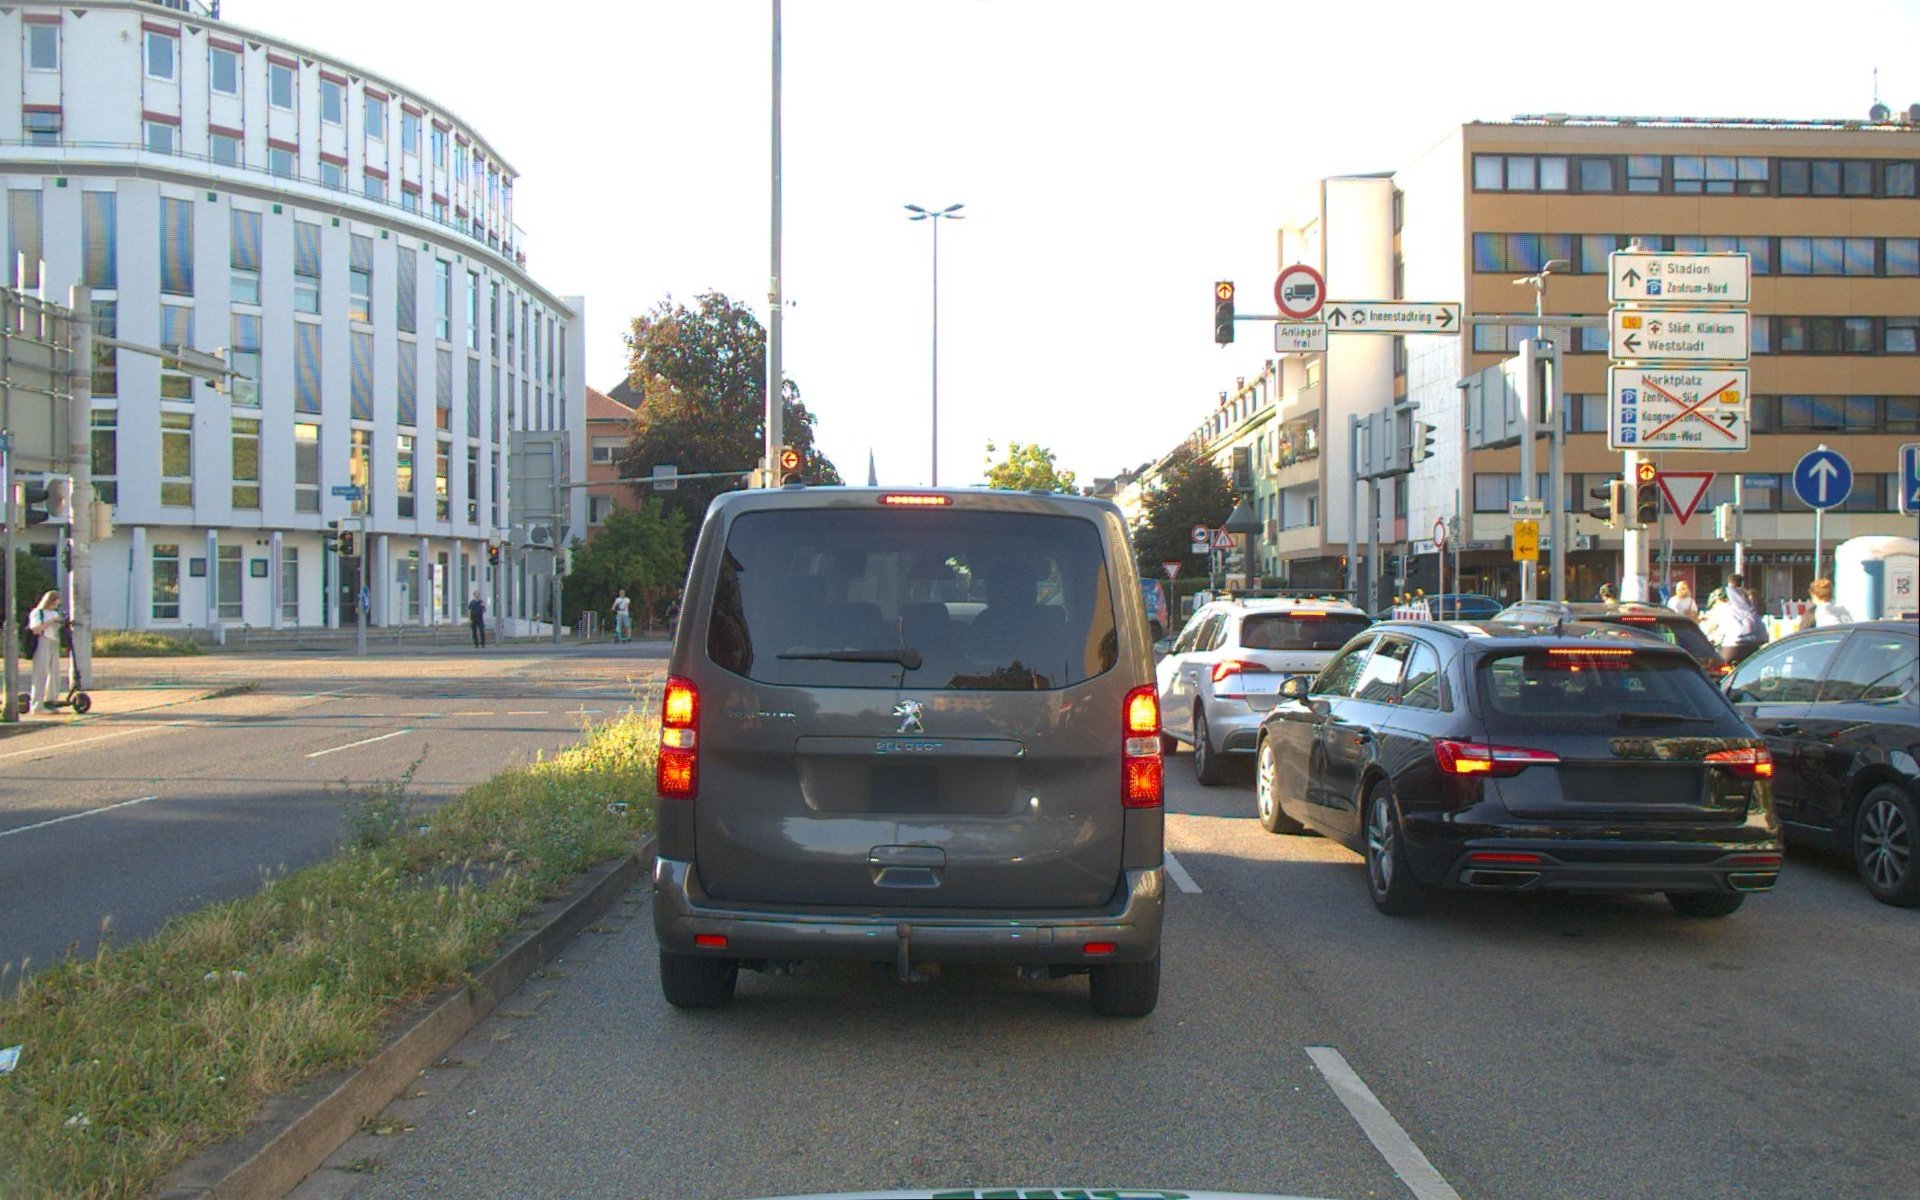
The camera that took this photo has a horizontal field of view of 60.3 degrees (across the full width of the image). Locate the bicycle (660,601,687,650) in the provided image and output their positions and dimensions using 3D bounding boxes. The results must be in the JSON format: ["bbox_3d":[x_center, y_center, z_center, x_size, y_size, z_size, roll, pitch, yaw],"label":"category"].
[{"bbox_3d":[-12.177,1.066,70.371,0.700,2.049,2.563,0,0,-1],"label":"bicycle"}]

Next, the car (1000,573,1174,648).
[{"bbox_3d":[3.285,0.238,42.565,4.180,1.849,1.976,-1,0,-35],"label":"car"}]

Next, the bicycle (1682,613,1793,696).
[{"bbox_3d":[11.833,0.812,25.197,1.473,1.181,0.371,2,1,41],"label":"bicycle"}]

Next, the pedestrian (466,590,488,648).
[{"bbox_3d":[-14.801,0.579,50.674,0.615,1.752,0.669,0,0,-15],"label":"pedestrian"}]

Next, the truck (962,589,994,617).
[{"bbox_3d":[1.431,0.213,129.648,2.083,2.123,4.634,0,0,5],"label":"truck"}]

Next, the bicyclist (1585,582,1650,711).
[{"bbox_3d":[8.071,0.564,20.319,0.503,1.552,0.725,0,0,-1],"label":"bicyclist"}]

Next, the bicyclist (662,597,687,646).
[{"bbox_3d":[-12.168,0.899,70.537,0.816,2.049,1.064,1,-1,1],"label":"bicyclist"}]

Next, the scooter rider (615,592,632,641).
[{"bbox_3d":[-11.849,0.578,58.227,0.471,1.727,0.636,0,0,-1],"label":"scooter rider"}]

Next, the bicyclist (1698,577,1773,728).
[{"bbox_3d":[8.143,0.541,17.384,0.432,1.552,0.725,0,0,-1],"label":"bicyclist"}]

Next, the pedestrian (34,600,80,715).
[{"bbox_3d":[-12.222,0.767,22.381,0.466,1.532,0.334,0,0,-13],"label":"pedestrian"}]

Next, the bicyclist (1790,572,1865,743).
[{"bbox_3d":[7.981,0.521,15.224,0.432,1.552,0.482,0,0,-1],"label":"bicyclist"}]

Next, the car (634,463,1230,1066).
[{"bbox_3d":[-0.119,0.523,7.553,1.868,1.896,4.525,1,0,-1],"label":"car"}]

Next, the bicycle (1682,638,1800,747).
[{"bbox_3d":[8.139,0.933,17.301,0.329,1.025,1.855,0,0,-1],"label":"bicycle"}]

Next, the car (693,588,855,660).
[{"bbox_3d":[-3.949,0.489,35.715,1.659,1.412,3.681,-1,0,29],"label":"car"}]

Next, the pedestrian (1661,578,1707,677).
[{"bbox_3d":[12.469,0.471,28.491,0.589,1.700,0.454,0,0,1],"label":"pedestrian"}]

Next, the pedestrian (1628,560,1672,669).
[{"bbox_3d":[11.863,0.248,28.436,0.558,1.866,0.487,0,0,1],"label":"pedestrian"}]

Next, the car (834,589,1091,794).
[{"bbox_3d":[-0.009,0.690,14.611,1.953,1.557,3.999,0,0,-1],"label":"car"}]

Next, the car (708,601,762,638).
[{"bbox_3d":[-9.194,0.775,67.846,1.819,1.445,3.998,0,0,-2],"label":"car"}]

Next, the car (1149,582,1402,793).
[{"bbox_3d":[2.713,0.685,14.962,1.498,1.641,3.744,1,0,-1],"label":"car"}]

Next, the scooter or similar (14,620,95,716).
[{"bbox_3d":[-12.147,0.909,22.202,0.877,1.255,0.370,0,0,-12],"label":"scooter or similar"}]

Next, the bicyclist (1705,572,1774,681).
[{"bbox_3d":[11.870,0.394,25.192,0.799,1.616,0.616,2,1,41],"label":"bicyclist"}]

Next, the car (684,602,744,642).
[{"bbox_3d":[-9.227,0.809,62.347,1.819,1.445,3.998,0,0,-2],"label":"car"}]

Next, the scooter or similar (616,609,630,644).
[{"bbox_3d":[-11.854,0.938,58.224,0.279,1.209,1.169,0,0,-1],"label":"scooter or similar"}]

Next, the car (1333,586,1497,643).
[{"bbox_3d":[12.371,0.375,44.991,4.171,1.467,1.691,-1,0,-23],"label":"car"}]

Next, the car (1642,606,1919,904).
[{"bbox_3d":[5.621,0.804,9.734,1.600,1.474,3.744,1,0,-1],"label":"car"}]

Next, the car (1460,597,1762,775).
[{"bbox_3d":[5.931,0.711,15.451,1.474,1.474,3.304,0,0,-1],"label":"car"}]

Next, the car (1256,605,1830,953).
[{"bbox_3d":[2.895,0.781,9.235,1.647,1.446,4.213,1,0,-1],"label":"car"}]
